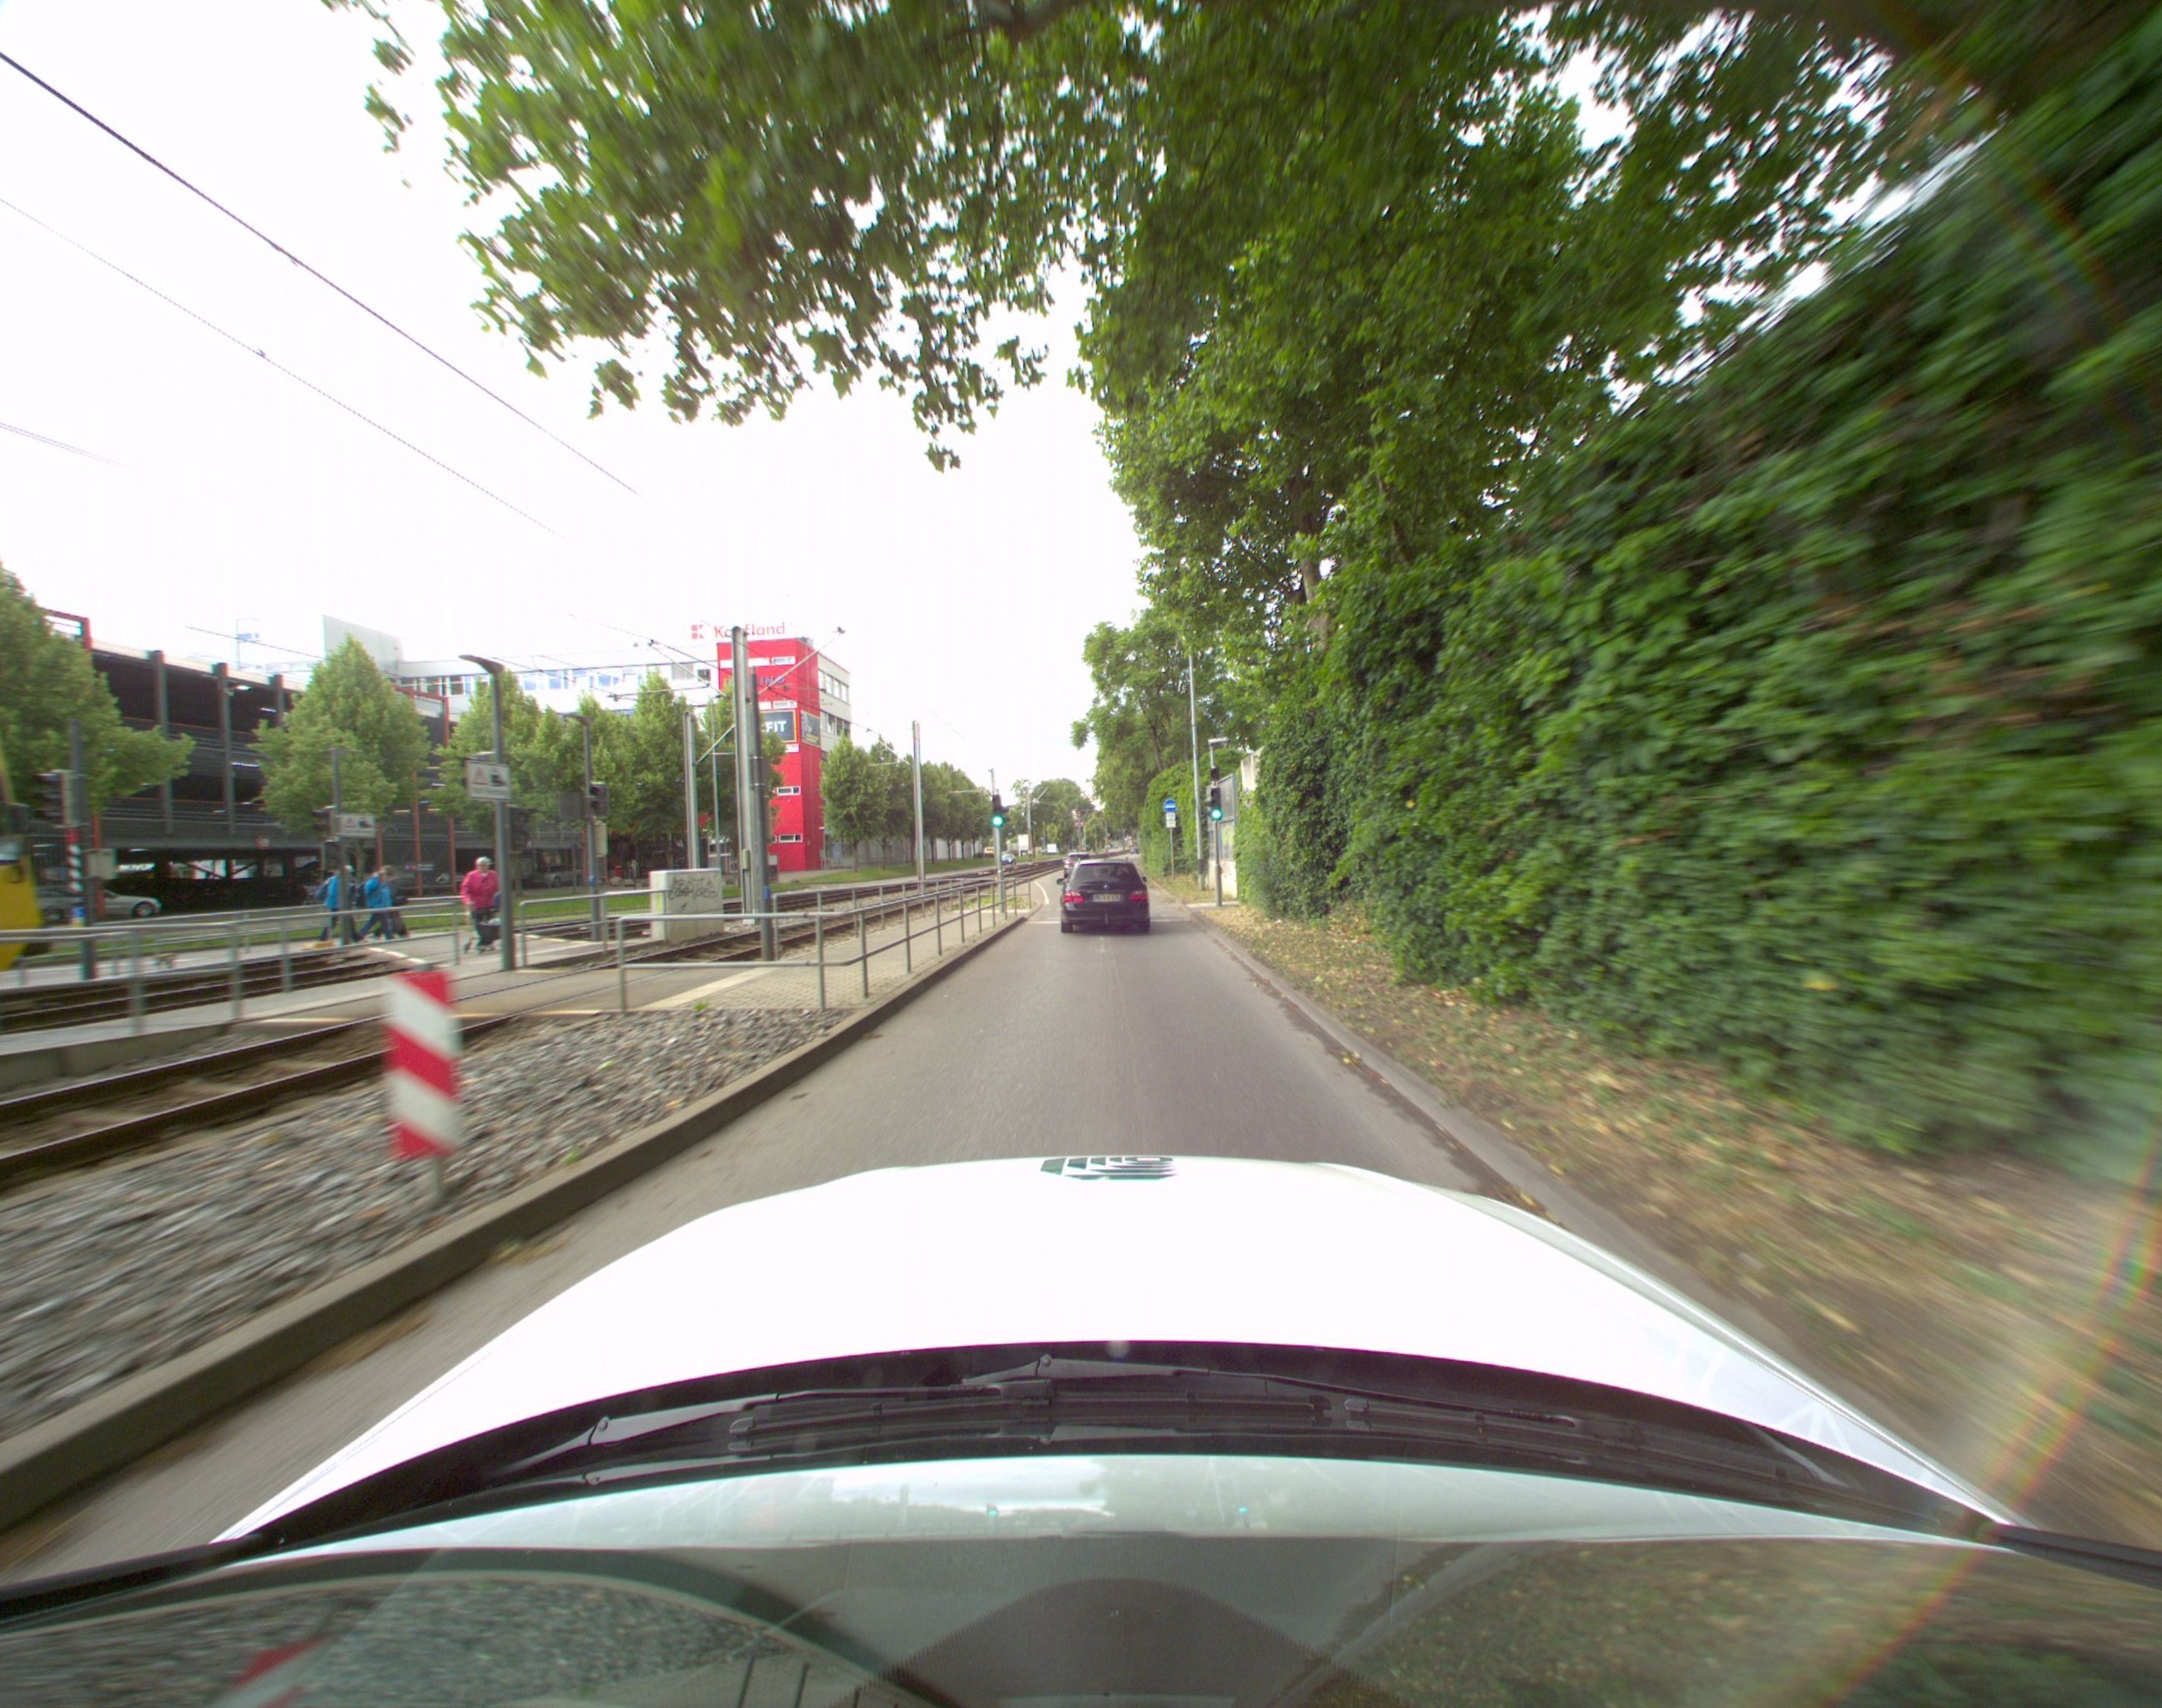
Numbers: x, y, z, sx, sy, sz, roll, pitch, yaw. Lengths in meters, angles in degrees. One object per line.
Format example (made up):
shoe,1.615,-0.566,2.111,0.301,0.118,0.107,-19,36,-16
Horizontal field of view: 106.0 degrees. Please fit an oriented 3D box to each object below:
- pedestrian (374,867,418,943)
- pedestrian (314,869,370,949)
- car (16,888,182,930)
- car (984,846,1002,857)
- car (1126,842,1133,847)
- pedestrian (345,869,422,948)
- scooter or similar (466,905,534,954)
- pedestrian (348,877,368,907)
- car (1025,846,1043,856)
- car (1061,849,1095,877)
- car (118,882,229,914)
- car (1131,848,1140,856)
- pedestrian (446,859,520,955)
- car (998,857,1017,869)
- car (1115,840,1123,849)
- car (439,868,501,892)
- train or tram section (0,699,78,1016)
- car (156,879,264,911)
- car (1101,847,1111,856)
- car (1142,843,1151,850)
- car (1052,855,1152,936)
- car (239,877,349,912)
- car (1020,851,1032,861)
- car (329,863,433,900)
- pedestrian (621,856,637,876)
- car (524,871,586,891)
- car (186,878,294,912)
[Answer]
pedestrian,-15.695,1.163,18.658,0.513,1.662,0.467,-4,0,13
pedestrian,-16.146,1.180,17.804,0.719,1.698,0.661,-1,0,26
car,-39.467,2.165,32.893,1.629,1.305,4.074,-2,1,2
car,-15.231,-0.470,141.890,1.983,1.743,4.997,-3,0,6
car,14.514,-2.885,243.525,1.817,1.530,4.184,-2,1,4
pedestrian,-15.261,1.173,17.841,0.707,1.611,0.945,-4,0,13
scooter or similar,-10.359,1.344,14.527,0.491,0.768,0.803,-4,0,23
pedestrian,-37.103,1.931,41.800,0.419,1.506,0.615,-2,0,3
car,-11.157,-0.703,192.857,3.978,2.123,1.998,-4,0,-3
car,-0.122,0.499,49.401,1.818,1.530,4.418,-2,1,2
car,-48.553,2.333,43.673,1.666,1.418,3.677,-3,0,3
car,11.294,-0.503,169.633,1.817,1.530,4.421,-3,0,4
pedestrian,-10.869,0.945,14.820,0.607,1.654,0.800,-4,0,24
car,-9.576,1.204,106.968,1.650,1.393,3.727,-3,0,7
car,9.630,-2.361,205.973,1.884,2.013,3.901,-4,0,3
car,-45.314,1.896,60.524,1.761,1.552,3.641,-3,0,0
train or tram section,-15.076,0.130,1.268,2.744,3.828,18.654,-3,0,4
car,-46.379,2.144,43.484,1.666,1.476,3.677,-3,0,3
car,4.965,-0.510,161.258,1.817,1.530,3.991,-2,1,4
car,14.726,-1.691,183.472,1.817,1.530,4.184,-2,1,4
car,0.523,0.794,17.454,1.825,1.478,4.419,-2,0,3
car,-38.493,1.954,39.955,1.666,1.476,3.678,-2,0,3
car,-11.742,0.376,172.799,1.986,2.013,4.002,-4,0,2
car,-40.947,1.574,47.797,1.666,1.888,4.872,-3,0,3
pedestrian,-39.567,1.042,71.294,0.734,1.694,0.867,-4,0,2
car,-38.257,1.916,59.405,1.449,1.226,4.452,-3,0,2
car,-43.989,2.110,42.704,1.666,1.476,3.677,-2,0,3
